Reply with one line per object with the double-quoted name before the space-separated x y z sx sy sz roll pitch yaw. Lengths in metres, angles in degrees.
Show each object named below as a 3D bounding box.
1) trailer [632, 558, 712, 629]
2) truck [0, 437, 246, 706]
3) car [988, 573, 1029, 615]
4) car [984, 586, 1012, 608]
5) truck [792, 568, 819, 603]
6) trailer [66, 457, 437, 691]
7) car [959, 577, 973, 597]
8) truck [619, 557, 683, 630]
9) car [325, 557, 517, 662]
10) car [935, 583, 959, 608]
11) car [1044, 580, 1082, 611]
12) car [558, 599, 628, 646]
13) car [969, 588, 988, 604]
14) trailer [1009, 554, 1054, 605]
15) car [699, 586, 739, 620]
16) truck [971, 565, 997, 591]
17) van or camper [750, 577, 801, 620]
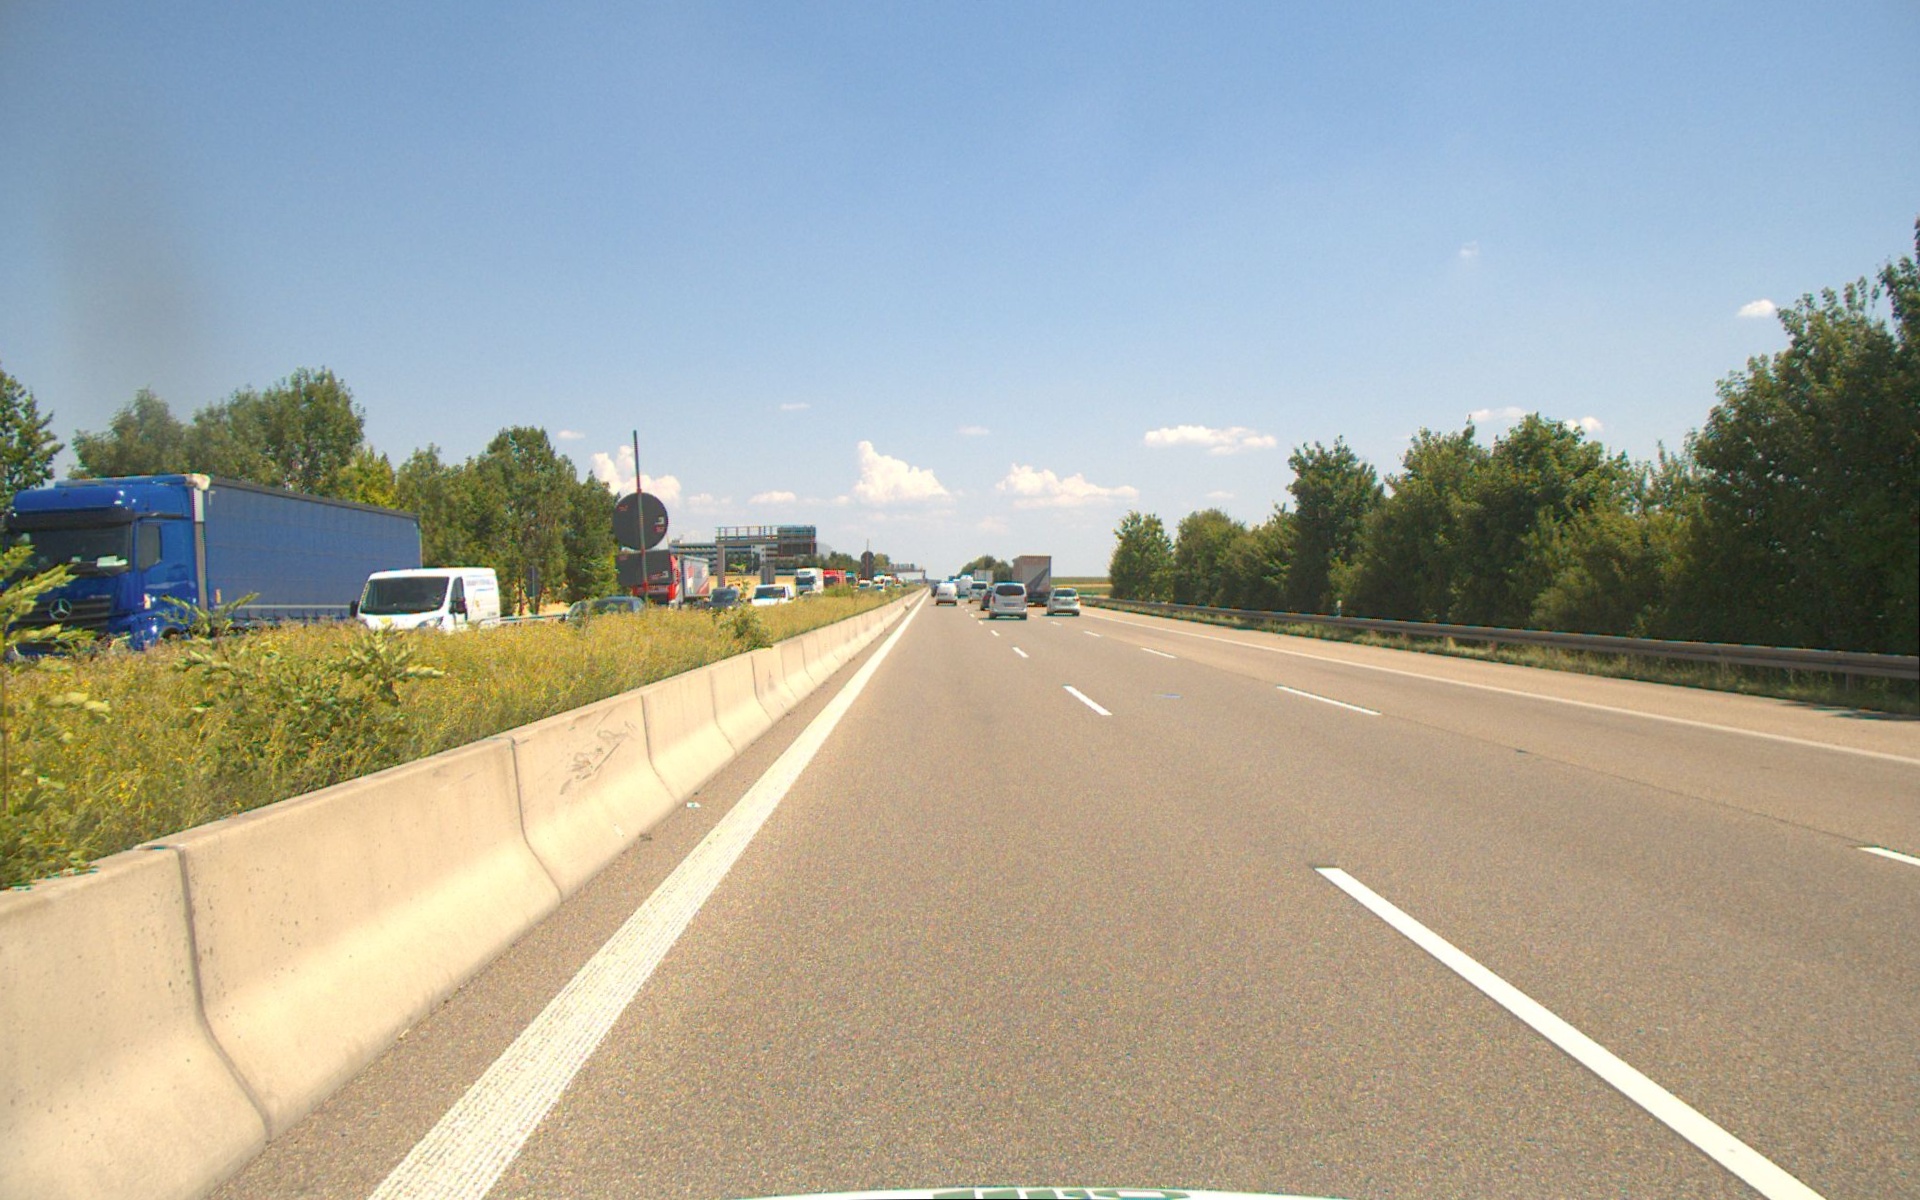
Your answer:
"trailer" -17.309 -0.413 100.238 2.798 3.922 12.183 -2 0 -1
"truck" -15.623 -0.477 30.112 2.807 4.426 5.585 -1 0 -1
"car" 2.511 -0.290 86.486 1.953 2.157 3.999 0 -1 -1
"car" 2.616 -0.200 114.420 1.737 1.473 3.999 0 -1 -1
"truck" -19.560 -1.827 209.230 2.890 4.230 5.470 -2 0 -1
"trailer" -15.704 -0.523 38.436 2.824 4.426 13.640 -1 0 -1
"car" 0.762 -1.663 207.273 1.737 2.434 3.999 0 -1 -1
"truck" -17.159 -0.373 92.145 2.798 3.922 3.999 -2 0 -1
"car" -11.512 0.175 35.825 2.139 2.049 5.763 -1 0 1
"car" -1.104 -0.362 137.077 1.953 2.049 3.999 0 -1 -1
"car" 6.130 -0.253 98.813 1.953 1.825 3.999 0 -1 -1
"car" -12.244 0.723 55.389 1.584 1.489 3.863 -1 0 -2
"car" 1.717 -0.342 154.429 1.737 1.473 3.999 0 -1 -1
"trailer" 5.915 -1.633 137.823 3.211 4.037 9.110 0 -1 -1
"car" -13.052 0.142 89.836 1.660 1.757 4.260 -1 0 -2
"truck" 3.721 -3.493 261.259 3.738 3.973 9.578 -1 0 -1
"van or camper" -8.621 -0.079 77.828 1.953 1.967 5.200 -1 0 -2
